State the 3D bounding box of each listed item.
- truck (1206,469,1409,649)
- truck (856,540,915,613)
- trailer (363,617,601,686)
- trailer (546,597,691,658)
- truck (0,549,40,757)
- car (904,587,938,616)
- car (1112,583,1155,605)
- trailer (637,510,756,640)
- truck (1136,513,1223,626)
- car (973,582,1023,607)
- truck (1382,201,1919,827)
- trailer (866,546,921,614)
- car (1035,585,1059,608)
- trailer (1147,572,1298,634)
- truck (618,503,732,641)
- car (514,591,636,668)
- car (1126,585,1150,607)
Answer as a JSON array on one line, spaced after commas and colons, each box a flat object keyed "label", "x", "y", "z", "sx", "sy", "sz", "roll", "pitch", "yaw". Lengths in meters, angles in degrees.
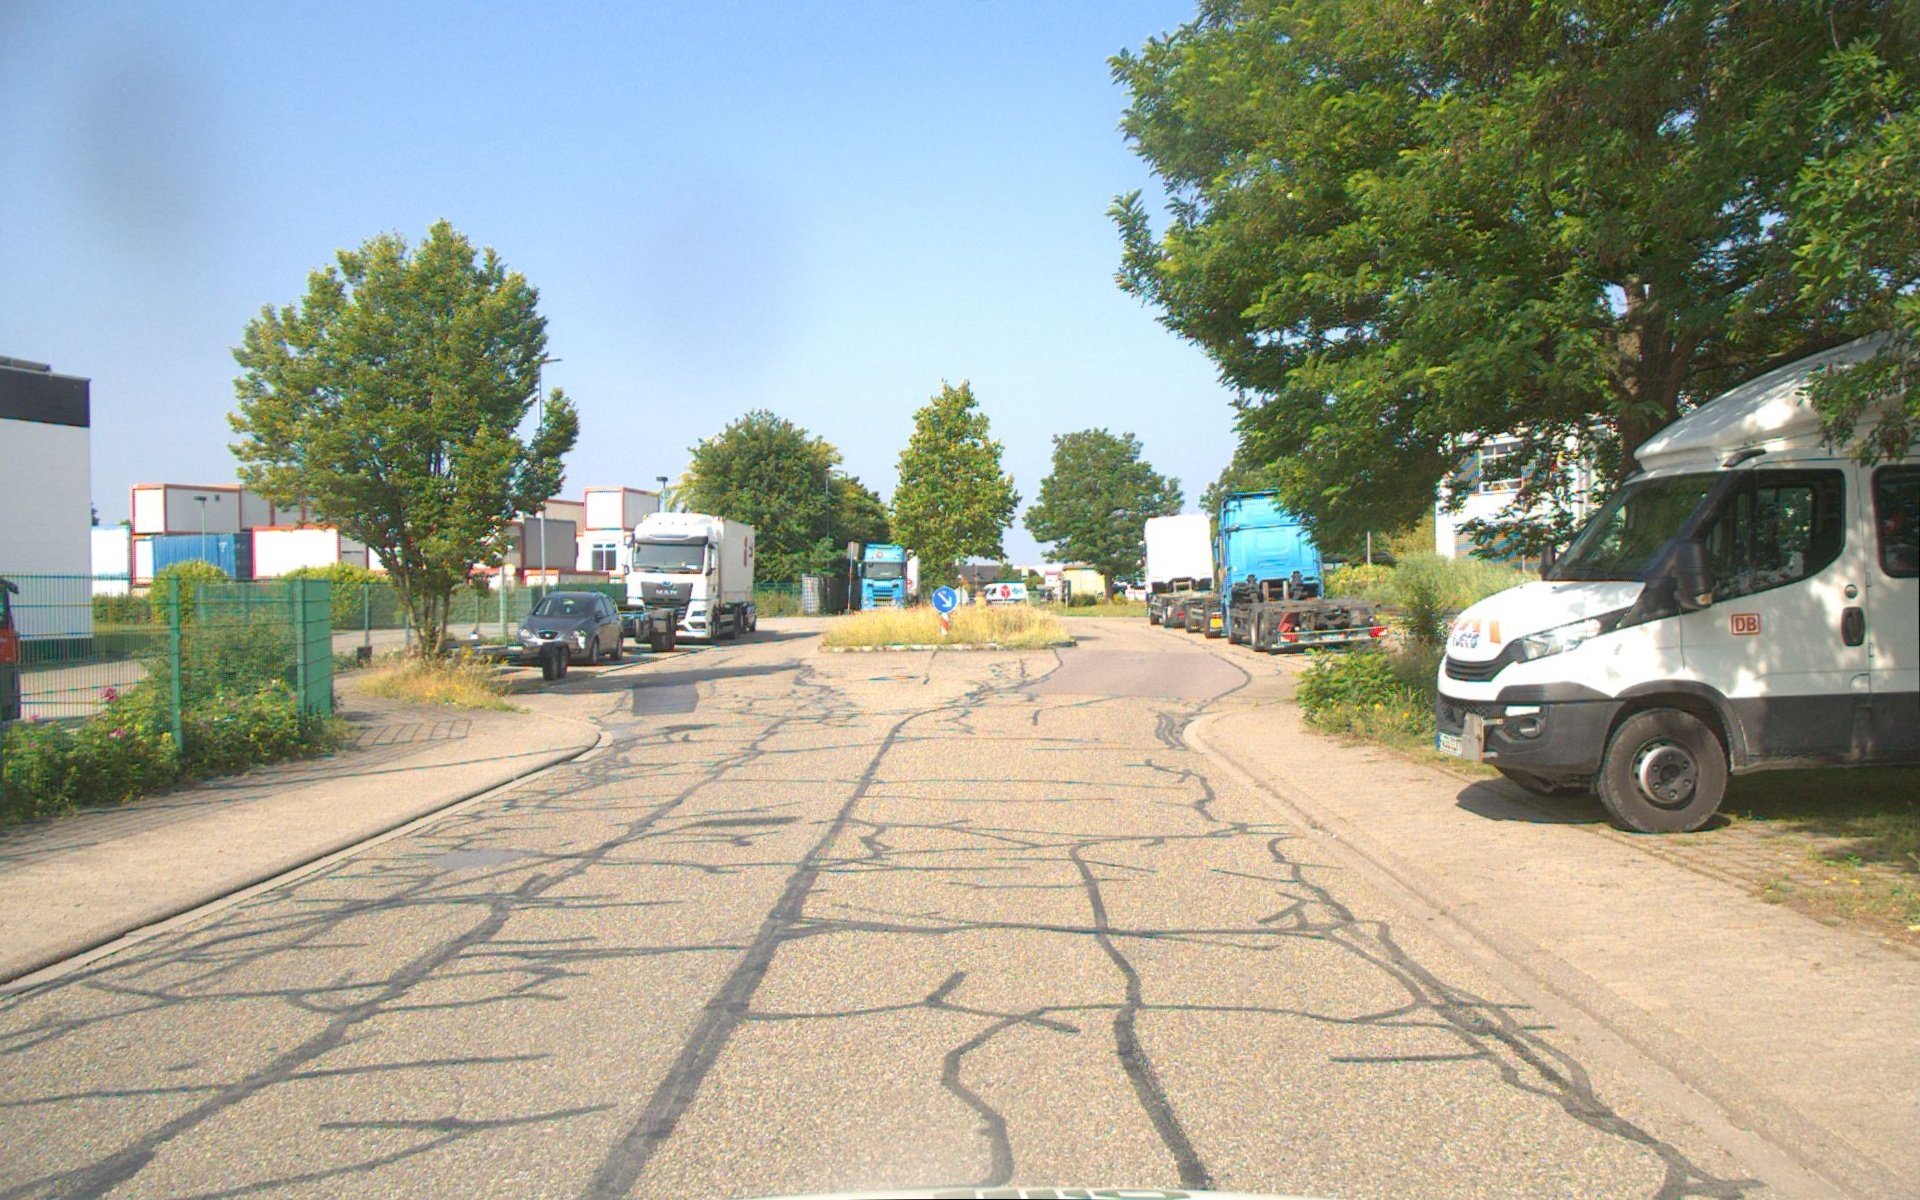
[{"label": "truck", "x": 8.092, "y": -0.815, "z": 39.949, "sx": 2.829, "sy": 3.596, "sz": 9.756, "roll": -5, "pitch": -1, "yaw": 2}, {"label": "truck", "x": -4.205, "y": -1.247, "z": 95.053, "sx": 2.767, "sy": 3.893, "sz": 9.672, "roll": 1, "pitch": -1, "yaw": 1}, {"label": "trailer", "x": -8.711, "y": 0.896, "z": 30.961, "sx": 2.495, "sy": 0.941, "sz": 6.709, "roll": 2, "pitch": 0, "yaw": 0}, {"label": "trailer", "x": -8.951, "y": 0.675, "z": 43.865, "sx": 2.625, "sy": 1.479, "sz": 5.078, "roll": 0, "pitch": 0, "yaw": 2}, {"label": "truck", "x": -20.768, "y": 1.008, "z": 31.447, "sx": 2.459, "sy": 4.143, "sz": 5.547, "roll": 1, "pitch": -1, "yaw": 16}, {"label": "car", "x": -2.894, "y": 0.137, "z": 120.993, "sx": 1.957, "sy": 2.049, "sz": 3.992, "roll": -1, "pitch": 0, "yaw": -9}, {"label": "car", "x": 11.517, "y": -0.382, "z": 109.728, "sx": 1.640, "sy": 1.353, "sz": 3.648, "roll": 1, "pitch": -1, "yaw": -15}, {"label": "trailer", "x": -8.600, "y": -0.715, "z": 54.854, "sx": 2.644, "sy": 3.990, "sz": 7.574, "roll": 1, "pitch": -1, "yaw": 0}, {"label": "truck", "x": 8.421, "y": -1.160, "z": 63.900, "sx": 2.689, "sy": 4.051, "sz": 4.001, "roll": -4, "pitch": 0, "yaw": 1}, {"label": "car", "x": 4.479, "y": -0.616, "z": 194.264, "sx": 5.701, "sy": 2.782, "sz": 1.982, "roll": 1, "pitch": -1, "yaw": -28}, {"label": "truck", "x": 7.126, "y": -0.559, "z": 10.632, "sx": 8.041, "sy": 3.429, "sz": 2.741, "roll": -2, "pitch": -1, "yaw": 0}, {"label": "trailer", "x": -4.077, "y": -1.125, "z": 103.800, "sx": 2.773, "sy": 3.910, "sz": 12.036, "roll": 1, "pitch": -1, "yaw": 1}, {"label": "car", "x": 7.124, "y": -0.276, "z": 135.337, "sx": 1.755, "sy": 1.780, "sz": 4.000, "roll": 1, "pitch": -1, "yaw": 0}, {"label": "trailer", "x": 8.334, "y": 0.059, "z": 54.837, "sx": 2.689, "sy": 1.601, "sz": 16.174, "roll": -3, "pitch": 0, "yaw": 1}, {"label": "truck", "x": -8.626, "y": -0.780, "z": 50.517, "sx": 2.653, "sy": 3.990, "sz": 4.296, "roll": 1, "pitch": -1, "yaw": 0}, {"label": "car", "x": -8.729, "y": 0.628, "z": 37.802, "sx": 1.661, "sy": 1.588, "sz": 4.336, "roll": 1, "pitch": 0, "yaw": 1}, {"label": "car", "x": 13.642, "y": -0.303, "z": 126.774, "sx": 1.681, "sy": 1.646, "sz": 4.002, "roll": 1, "pitch": -1, "yaw": 4}]
